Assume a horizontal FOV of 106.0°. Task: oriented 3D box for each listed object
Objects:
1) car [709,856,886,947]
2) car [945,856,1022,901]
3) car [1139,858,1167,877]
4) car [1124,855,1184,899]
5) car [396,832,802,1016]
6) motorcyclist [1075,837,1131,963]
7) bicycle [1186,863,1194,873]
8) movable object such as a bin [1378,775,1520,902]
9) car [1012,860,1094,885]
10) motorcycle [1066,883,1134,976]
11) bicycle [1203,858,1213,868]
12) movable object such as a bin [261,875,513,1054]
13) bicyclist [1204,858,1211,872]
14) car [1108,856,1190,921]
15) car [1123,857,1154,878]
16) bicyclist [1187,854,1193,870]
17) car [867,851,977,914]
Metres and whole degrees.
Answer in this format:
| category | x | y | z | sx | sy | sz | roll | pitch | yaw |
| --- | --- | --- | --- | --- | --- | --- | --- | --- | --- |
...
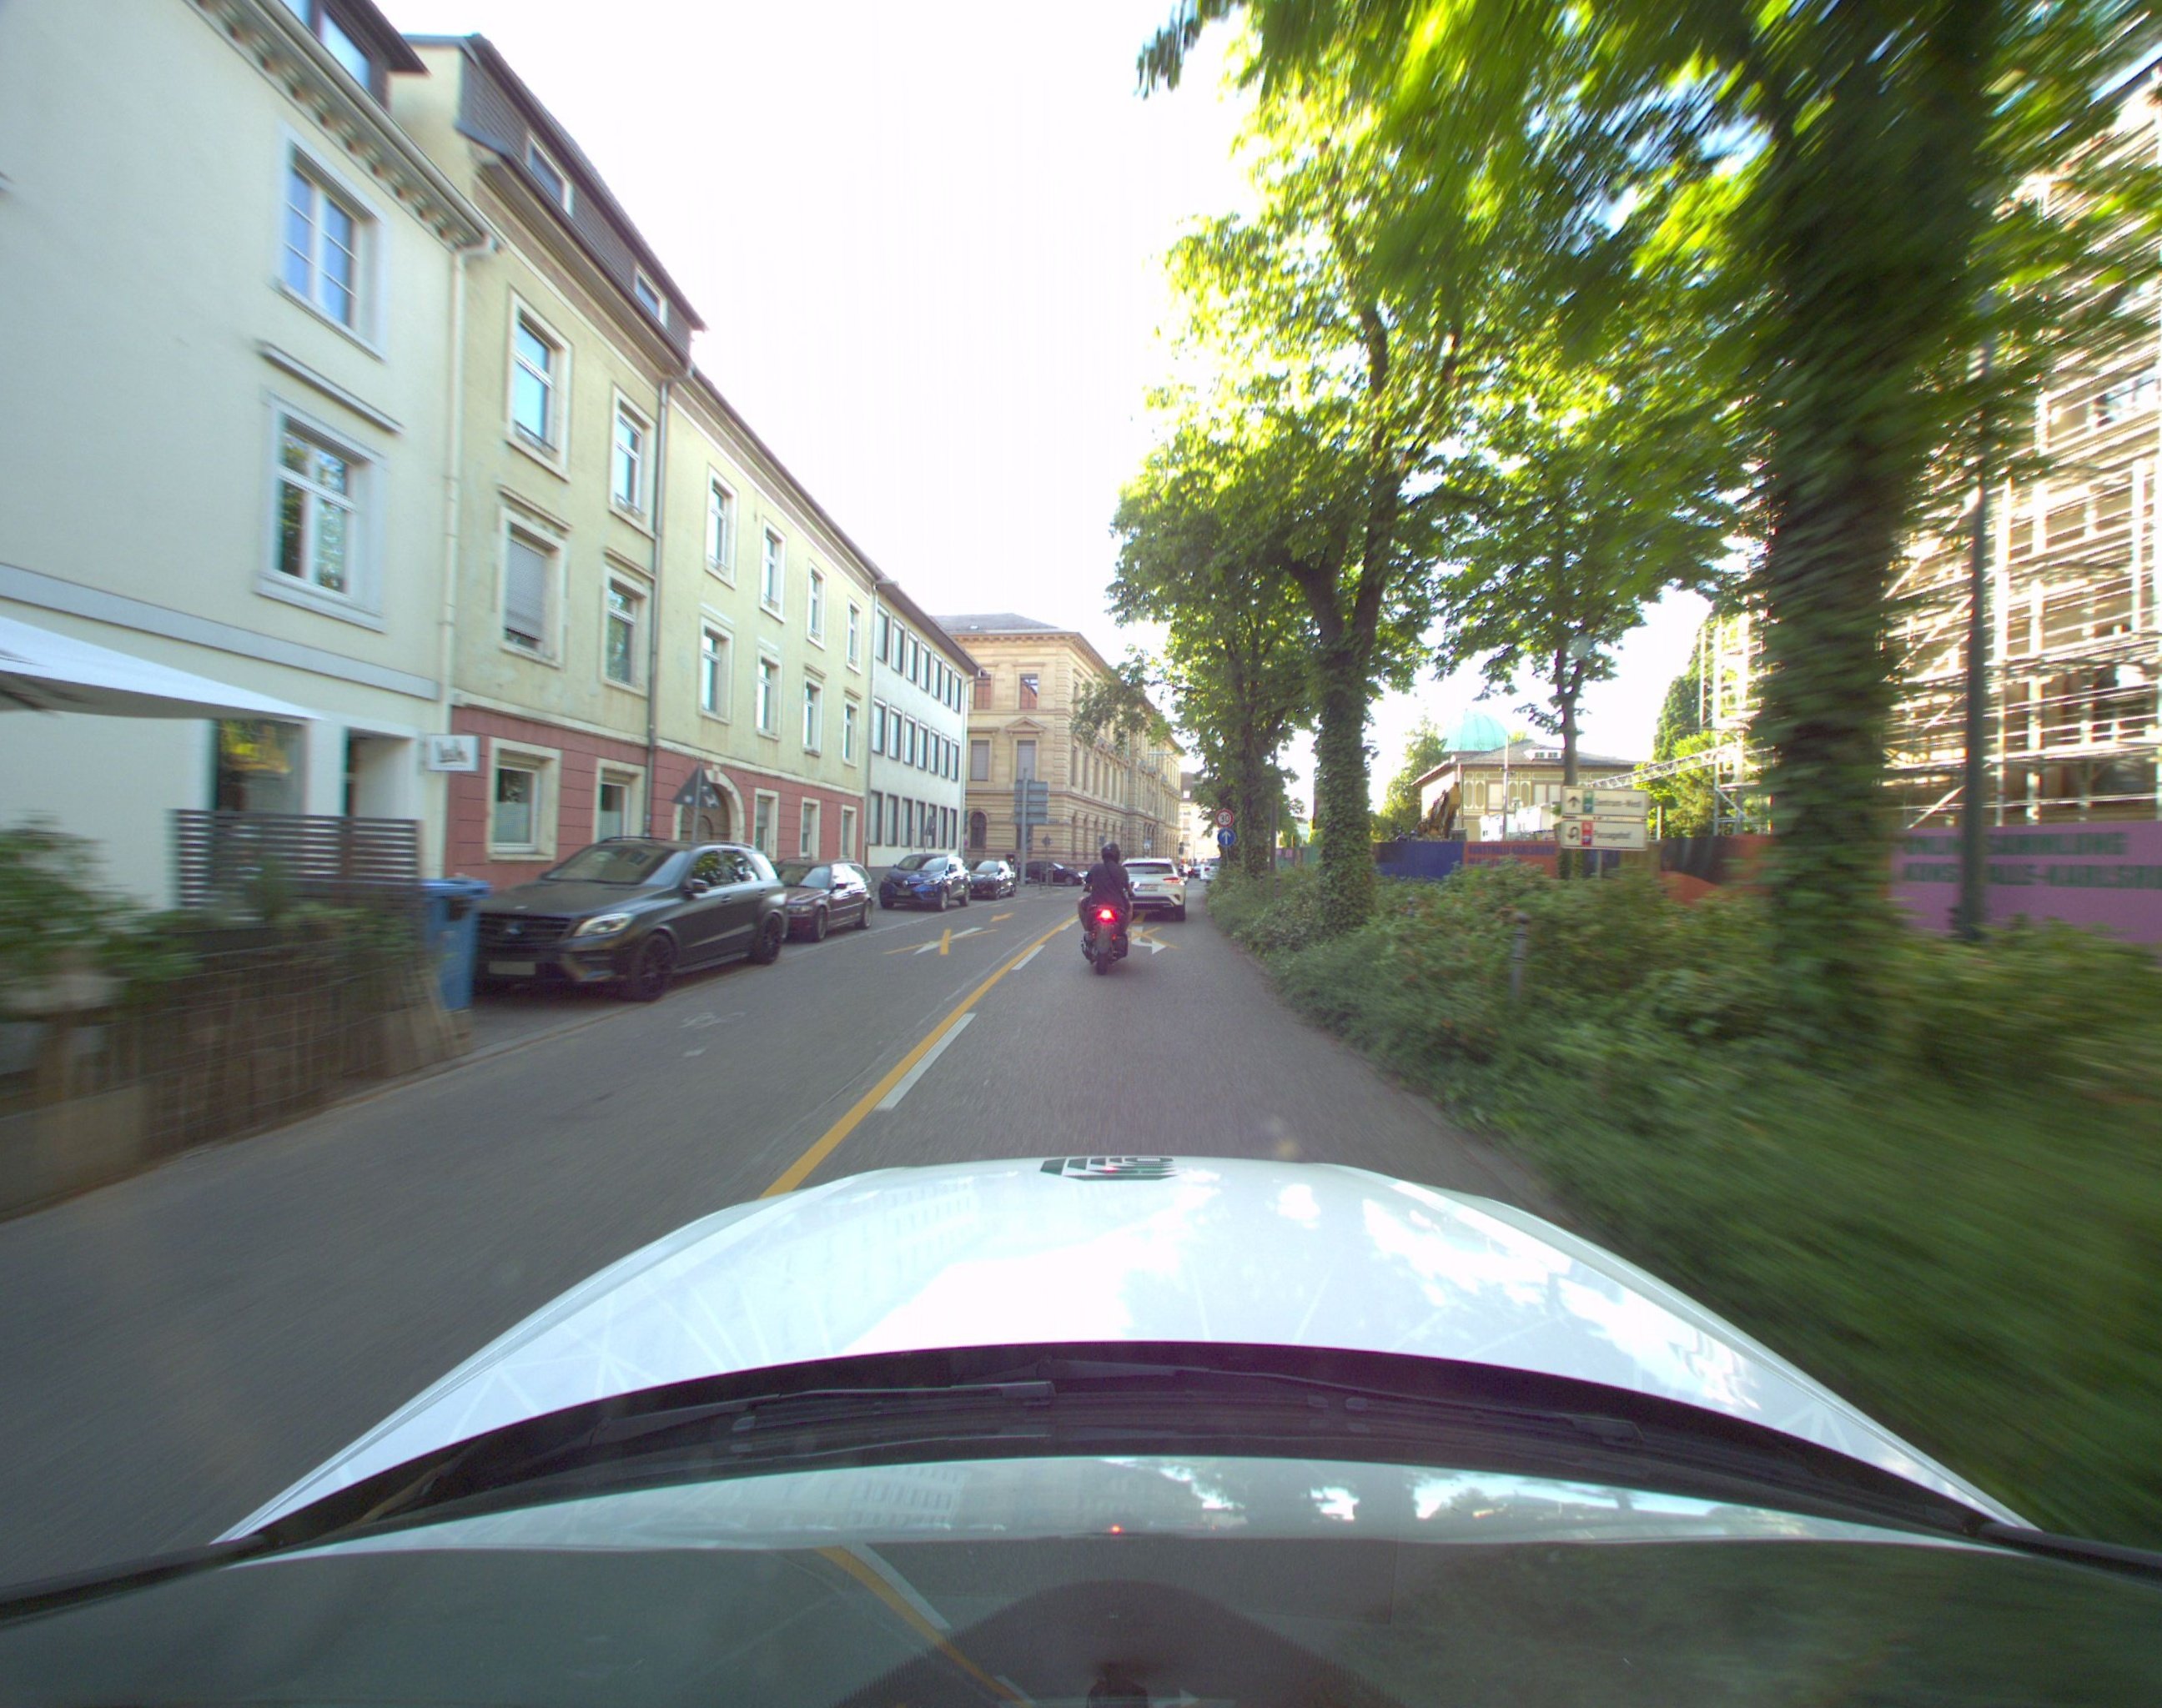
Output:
| category | x | y | z | sx | sy | sz | roll | pitch | yaw |
| --- | --- | --- | --- | --- | --- | --- | --- | --- | --- |
| car | -5.217 | 0.792 | 15.689 | 1.646 | 1.480 | 4.431 | 1 | 0 | 3 |
| car | -3.644 | 0.867 | 31.231 | 1.814 | 1.503 | 4.768 | 2 | 0 | 6 |
| car | 6.211 | 1.113 | 69.852 | 1.981 | 1.528 | 4.196 | 0 | 0 | 10 |
| car | 2.787 | 0.805 | 30.321 | 1.829 | 1.463 | 4.068 | 2 | 0 | 10 |
| car | -5.311 | 0.656 | 9.977 | 1.914 | 1.679 | 4.788 | 1 | 0 | 3 |
| motorcyclist | 0.311 | 0.614 | 11.177 | 0.654 | 1.650 | 0.651 | 2 | 0 | 5 |
| bicycle | 11.082 | 1.426 | 82.880 | 0.579 | 1.035 | 2.136 | 0 | 0 | 12 |
| movable object such as a bin | 14.669 | -0.552 | 33.266 | 3.288 | 4.539 | 7.924 | 1 | 0 | 9 |
| car | -1.559 | 1.025 | 46.087 | 4.281 | 1.390 | 1.783 | 0 | 0 | 15 |
| motorcycle | 0.290 | 0.966 | 11.006 | 0.793 | 1.066 | 1.727 | 2 | 0 | 4 |
| bicycle | 14.142 | 0.993 | 90.832 | 0.528 | 1.035 | 2.048 | 0 | 0 | 26 |
| movable object such as a bin | -5.555 | 0.835 | 6.594 | 1.210 | 1.295 | 0.931 | 1 | -1 | 5 |
| bicyclist | 14.141 | 1.261 | 90.943 | 0.622 | 1.554 | 0.736 | 0 | -1 | 26 |
| car | 1.746 | 0.793 | 20.570 | 1.841 | 1.480 | 4.064 | -1 | 0 | 6 |
| car | 4.567 | 1.029 | 64.186 | 1.981 | 1.567 | 4.301 | 0 | 0 | 10 |
| bicyclist | 11.084 | 0.788 | 82.932 | 0.562 | 1.667 | 0.837 | 0 | -1 | 13 |
| car | -4.564 | 0.765 | 24.122 | 1.924 | 1.667 | 4.355 | 1 | 0 | 6 |
